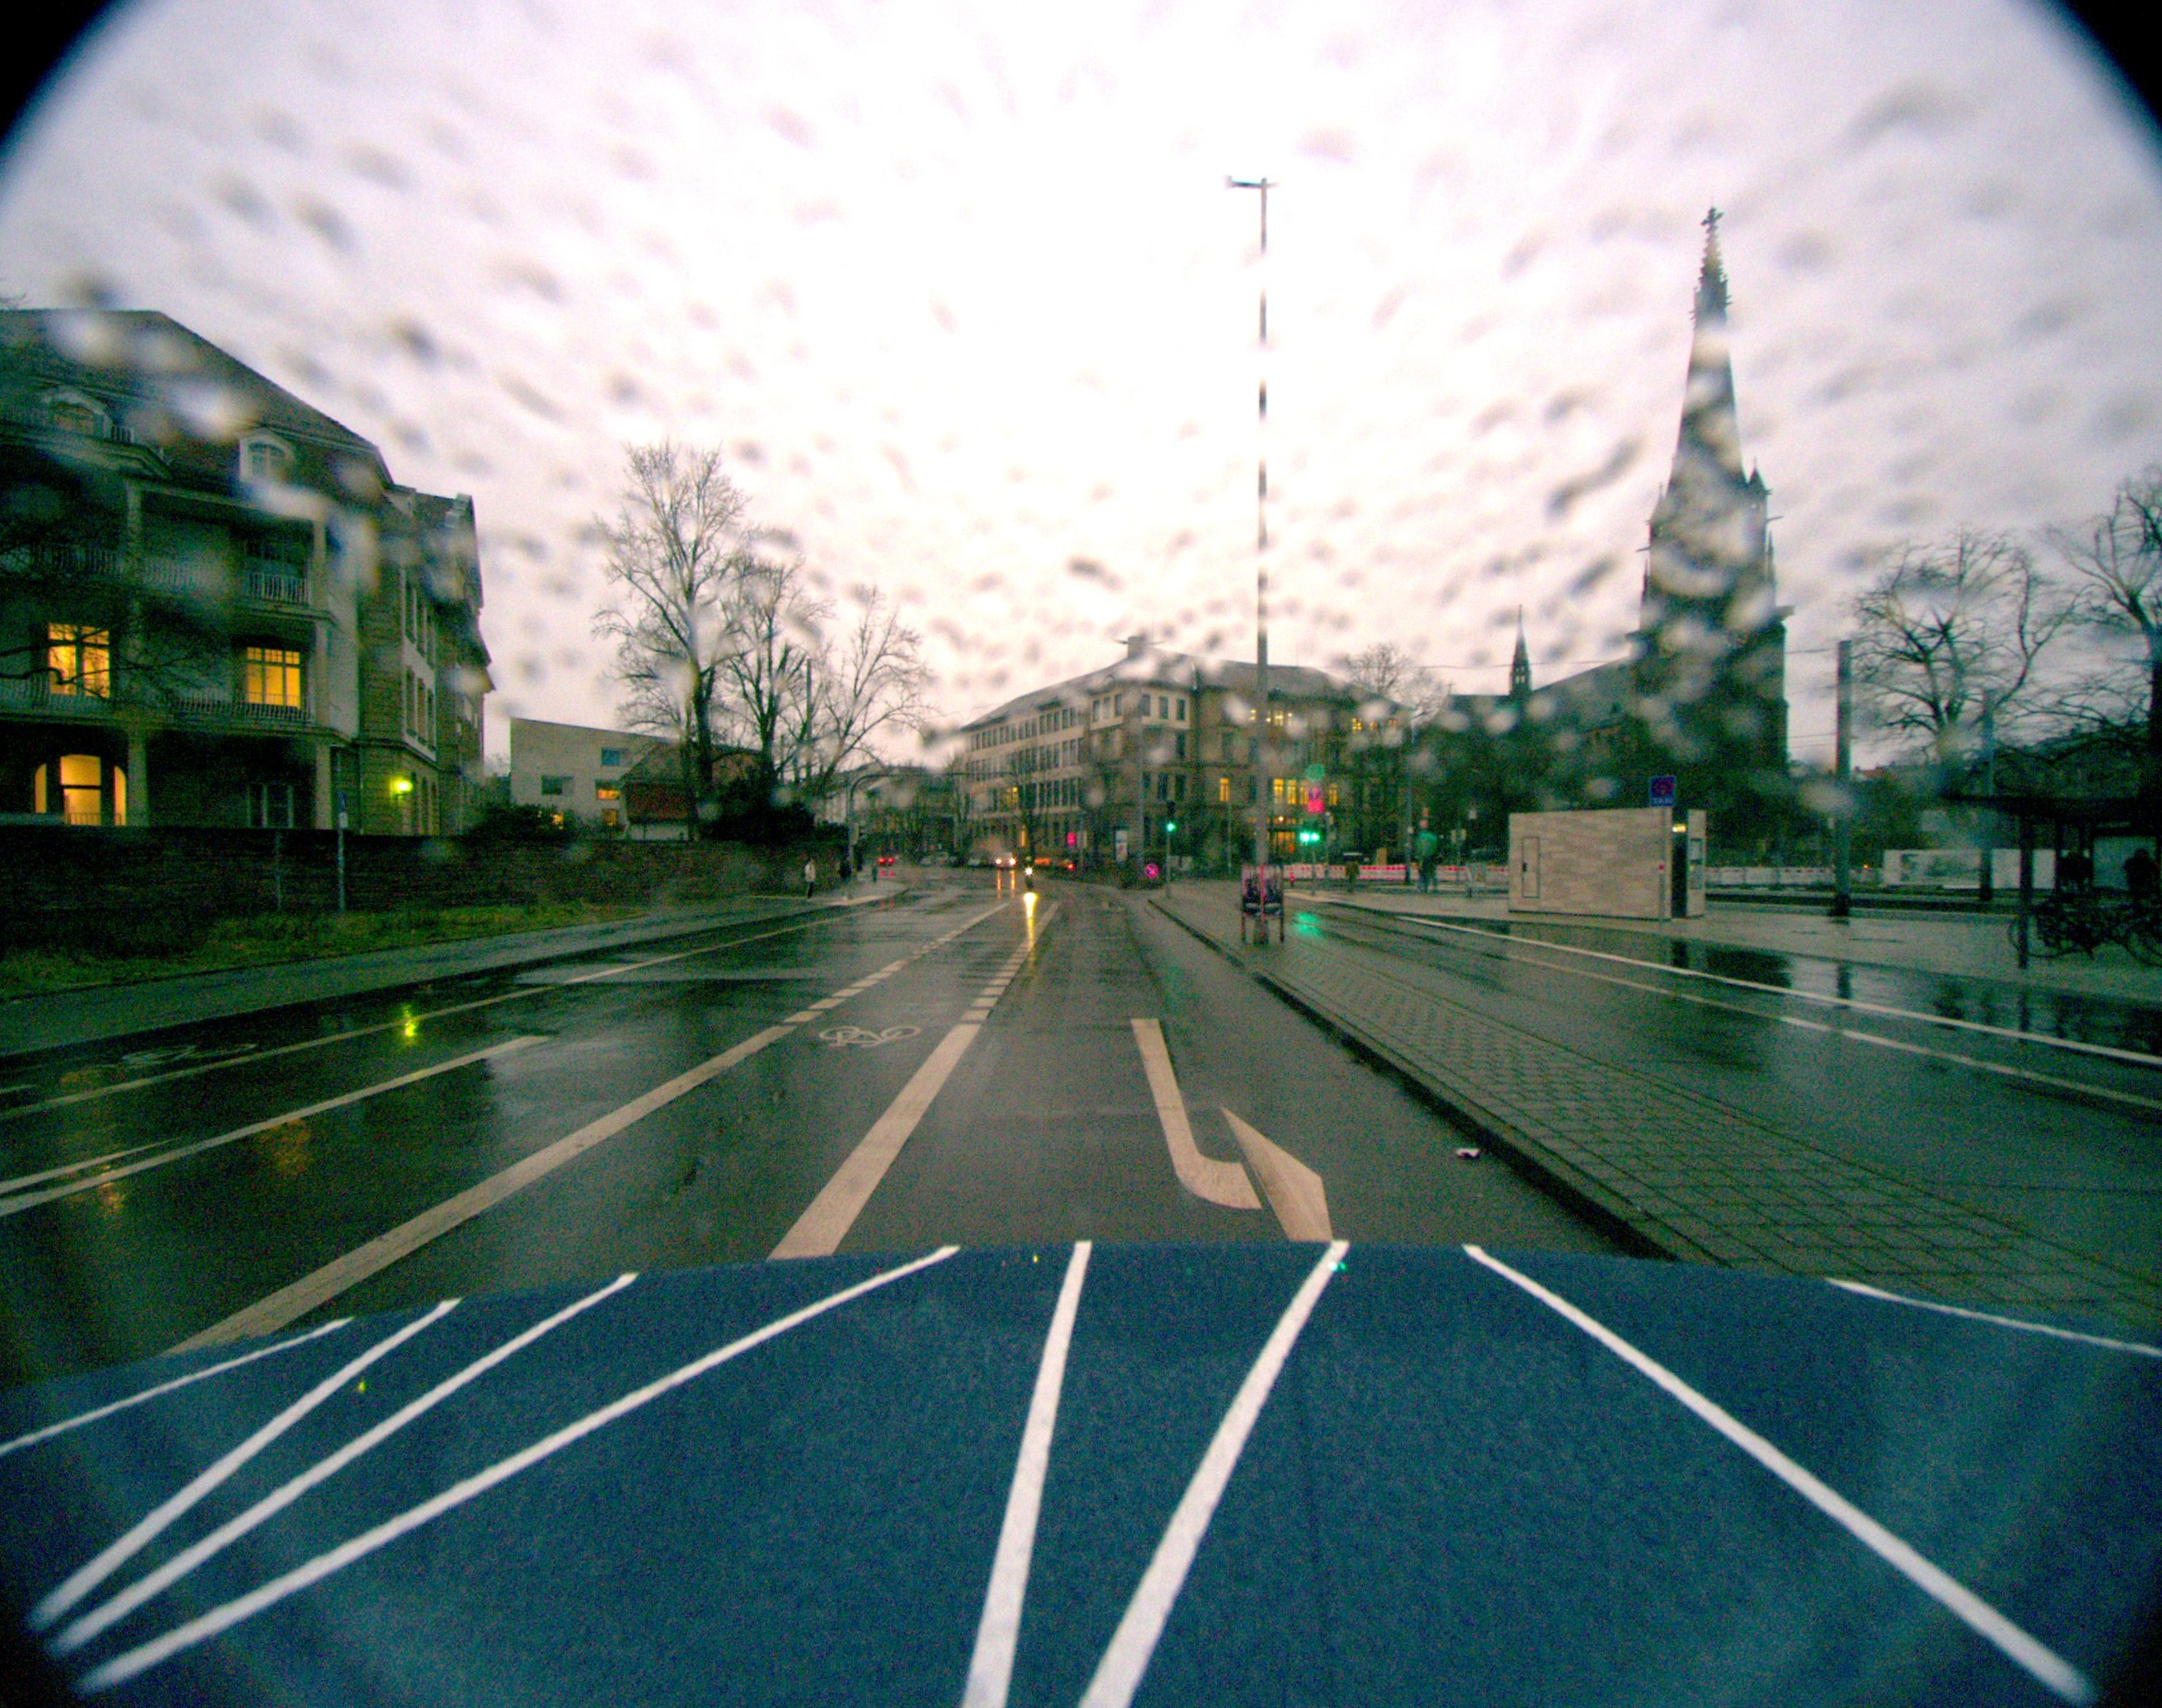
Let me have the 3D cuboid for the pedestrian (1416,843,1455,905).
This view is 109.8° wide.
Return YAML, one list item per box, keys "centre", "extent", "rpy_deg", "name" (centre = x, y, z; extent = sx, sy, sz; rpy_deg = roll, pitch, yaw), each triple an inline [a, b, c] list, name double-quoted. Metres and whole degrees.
- centre: [14.092, 0.775, 30.202]
  extent: [0.996, 2.357, 1.063]
  rpy_deg: [-2, 3, -4]
  name: "pedestrian"

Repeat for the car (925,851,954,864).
- centre: [-19.861, 0.526, 106.841]
  extent: [1.771, 1.582, 4.191]
  rpy_deg: [0, 2, 27]
  name: "car"

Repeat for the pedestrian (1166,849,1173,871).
- centre: [8.228, 0.589, 70.466]
  extent: [0.571, 2.003, 0.587]
  rpy_deg: [-1, 3, 5]
  name: "pedestrian"

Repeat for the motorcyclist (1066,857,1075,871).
- centre: [-0.926, 0.838, 65.941]
  extent: [0.538, 1.187, 0.609]
  rpy_deg: [-3, 3, -23]
  name: "motorcyclist"

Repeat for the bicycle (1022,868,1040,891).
- centre: [-2.489, 1.249, 37.866]
  extent: [0.724, 1.084, 2.284]
  rpy_deg: [-2, 0, -7]
  name: "bicycle"

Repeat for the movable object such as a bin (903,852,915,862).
- centre: [-26.210, 0.387, 115.799]
  extent: [1.341, 1.456, 0.987]
  rpy_deg: [-1, 3, 19]
  name: "movable object such as a bin"

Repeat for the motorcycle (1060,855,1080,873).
- centre: [-0.979, 0.847, 65.927]
  extent: [0.833, 1.488, 2.309]
  rpy_deg: [0, 1, -26]
  name: "motorcycle"

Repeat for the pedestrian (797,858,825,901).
- centre: [-10.600, 1.002, 29.823]
  extent: [0.963, 1.666, 0.778]
  rpy_deg: [1, 1, -21]
  name: "pedestrian"

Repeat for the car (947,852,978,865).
- centre: [-15.406, 0.577, 98.863]
  extent: [1.819, 1.531, 3.983]
  rpy_deg: [0, 2, 29]
  name: "car"

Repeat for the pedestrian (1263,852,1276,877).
- centre: [15.140, 0.816, 60.900]
  extent: [0.646, 2.003, 0.740]
  rpy_deg: [-3, 3, -36]
  name: "pedestrian"

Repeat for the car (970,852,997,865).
- centre: [-12.156, 0.578, 95.296]
  extent: [1.633, 1.449, 3.831]
  rpy_deg: [-1, 2, 23]
  name: "car"

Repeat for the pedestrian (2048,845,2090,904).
- centre: [30.188, 0.601, 23.219]
  extent: [0.715, 1.747, 0.715]
  rpy_deg: [-2, 2, -34]
  name: "pedestrian"

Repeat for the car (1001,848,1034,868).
- centre: [-7.035, 0.418, 84.886]
  extent: [1.908, 2.022, 4.809]
  rpy_deg: [-1, 2, 19]
  name: "car"

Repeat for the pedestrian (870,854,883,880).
- centre: [-13.769, 0.869, 51.144]
  extent: [0.808, 1.675, 1.155]
  rpy_deg: [1, 0, -16]
  name: "pedestrian"

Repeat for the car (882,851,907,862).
- centre: [-24.556, 0.324, 99.935]
  extent: [1.756, 1.370, 4.354]
  rpy_deg: [1, 0, -34]
  name: "car"

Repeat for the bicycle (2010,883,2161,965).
- centre: [16.584, 1.115, 12.281]
  extent: [0.551, 1.158, 1.894]
  rpy_deg: [-3, 3, -29]
  name: "bicycle"

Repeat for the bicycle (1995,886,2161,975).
- centre: [15.570, 1.144, 11.632]
  extent: [0.551, 1.158, 1.938]
  rpy_deg: [-3, 3, -29]
  name: "bicycle"

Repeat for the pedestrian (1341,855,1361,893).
- centre: [12.092, 0.894, 33.966]
  extent: [0.673, 1.665, 0.731]
  rpy_deg: [0, 3, 32]
  name: "pedestrian"

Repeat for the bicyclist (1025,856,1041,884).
- centre: [-2.374, 0.794, 37.879]
  extent: [0.717, 1.335, 0.719]
  rpy_deg: [-2, 2, 1]
  name: "bicyclist"

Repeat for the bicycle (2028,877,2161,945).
- centre: [19.705, 1.072, 14.535]
  extent: [0.551, 1.158, 1.894]
  rpy_deg: [-3, 3, -29]
  name: "bicycle"

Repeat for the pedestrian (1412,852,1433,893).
- centre: [15.929, 0.852, 35.424]
  extent: [0.604, 1.803, 0.826]
  rpy_deg: [-4, 1, 10]
  name: "pedestrian"

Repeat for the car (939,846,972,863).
- centre: [-16.782, 0.099, 101.858]
  extent: [1.961, 2.042, 4.629]
  rpy_deg: [0, 2, 29]
  name: "car"

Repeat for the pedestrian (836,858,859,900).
- centre: [-9.539, 1.012, 31.059]
  extent: [0.792, 1.666, 0.729]
  rpy_deg: [1, 1, -12]
  name: "pedestrian"

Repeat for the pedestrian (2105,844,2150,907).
- centre: [30.824, 0.613, 22.382]
  extent: [0.715, 1.796, 0.715]
  rpy_deg: [-2, 2, -34]
  name: "pedestrian"
